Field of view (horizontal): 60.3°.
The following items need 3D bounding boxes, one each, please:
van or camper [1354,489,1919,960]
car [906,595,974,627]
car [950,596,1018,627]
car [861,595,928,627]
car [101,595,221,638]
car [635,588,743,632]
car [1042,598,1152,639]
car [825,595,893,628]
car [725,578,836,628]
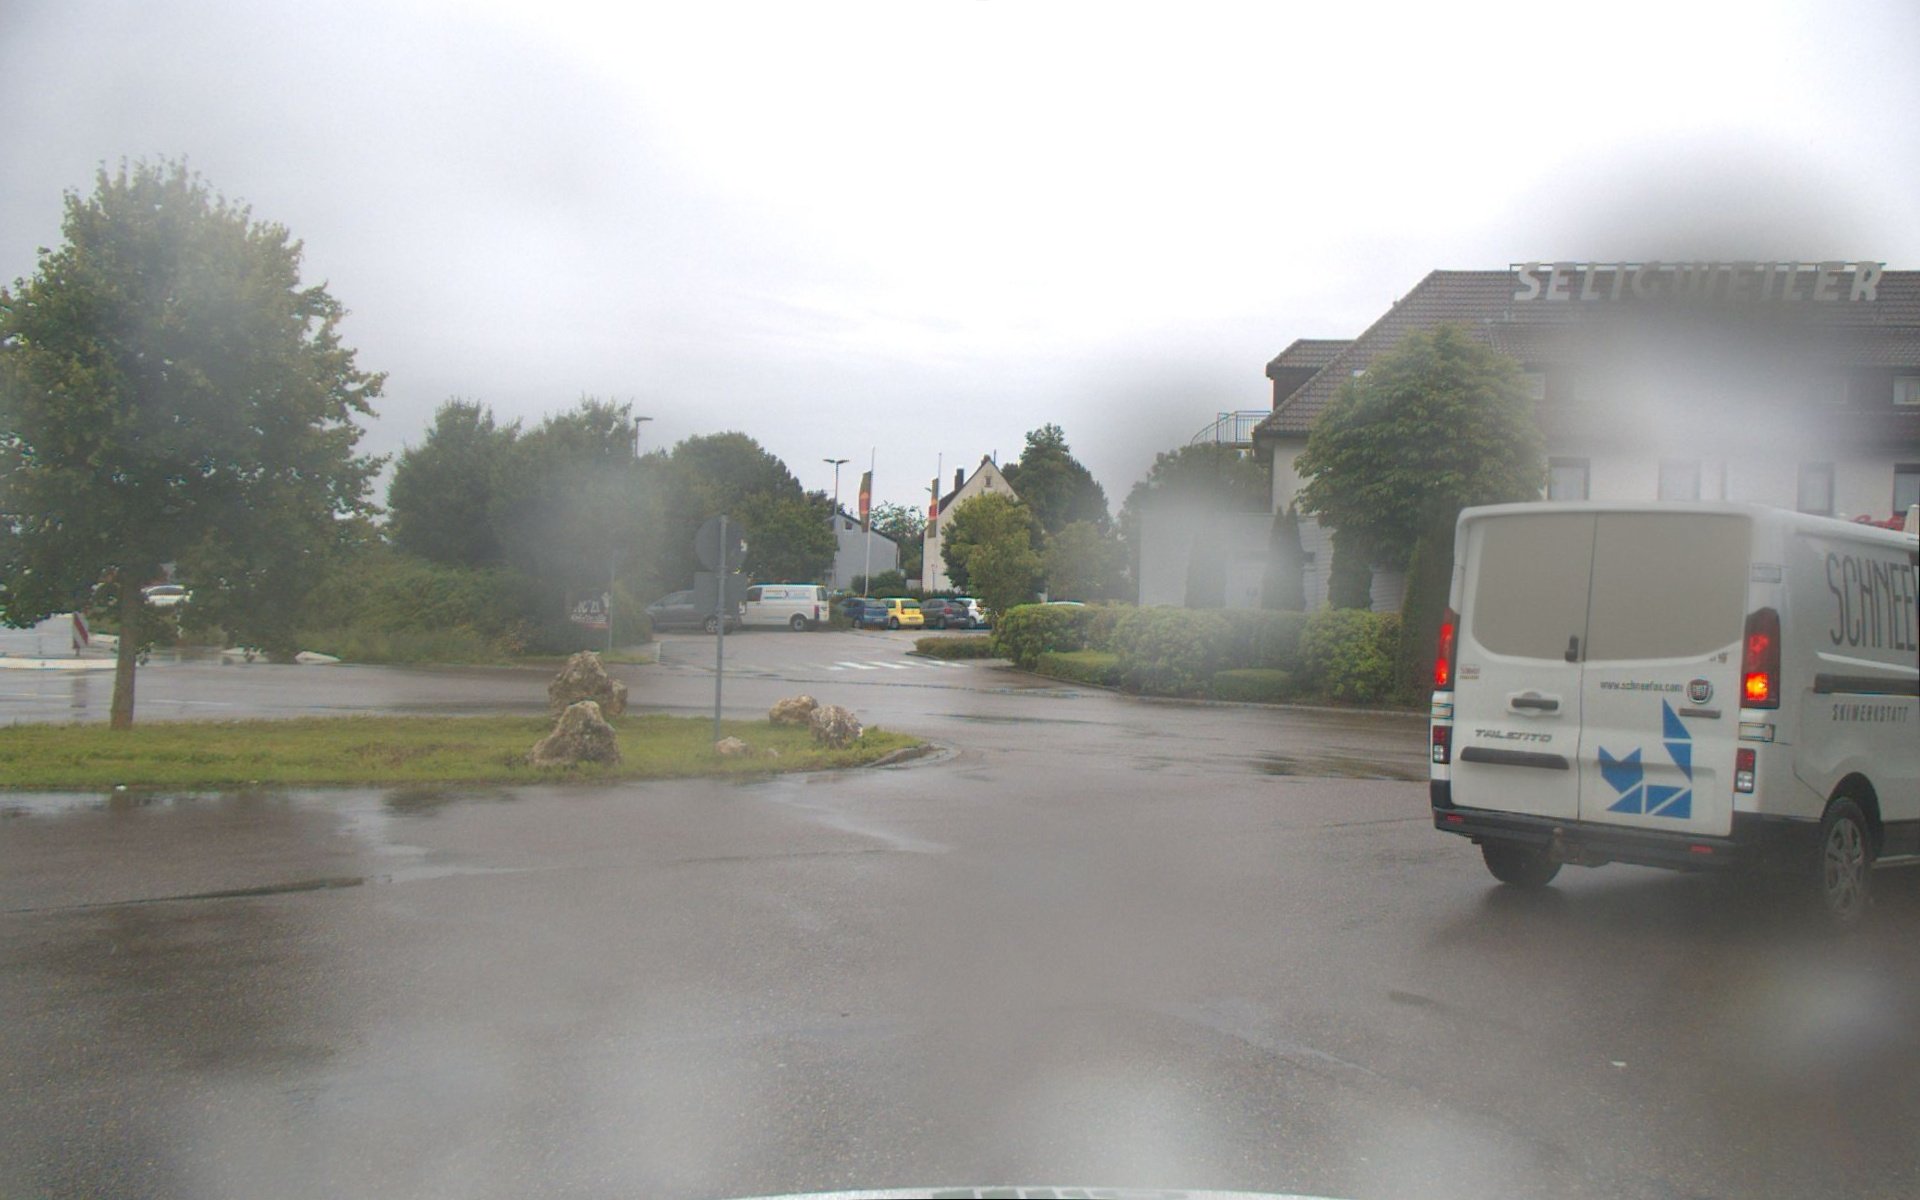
[{"bbox_3d":[4.731,0.581,9.463,5.149,1.979,2.163,3,0,-40],"label":"van or camper"},{"bbox_3d":[-1.005,0.517,81.320,1.568,1.483,3.634,0,0,-35],"label":"car"},{"bbox_3d":[1.191,0.536,82.739,1.568,1.483,3.634,0,0,-35],"label":"car"},{"bbox_3d":[-3.196,0.507,80.091,1.568,1.483,3.634,0,0,-35],"label":"car"},{"bbox_3d":[-34.639,0.714,71.780,1.717,1.789,4.342,0,-1,41],"label":"car"},{"bbox_3d":[-9.987,0.359,61.077,3.652,1.578,1.452,1,0,10],"label":"car"},{"bbox_3d":[5.342,0.692,64.287,4.086,1.524,1.719,0,0,10],"label":"car"},{"bbox_3d":[-4.763,0.523,77.896,1.538,1.483,3.634,0,0,-35],"label":"car"},{"bbox_3d":[-7.688,0.120,70.857,4.424,2.069,1.646,1,0,10],"label":"car"}]
